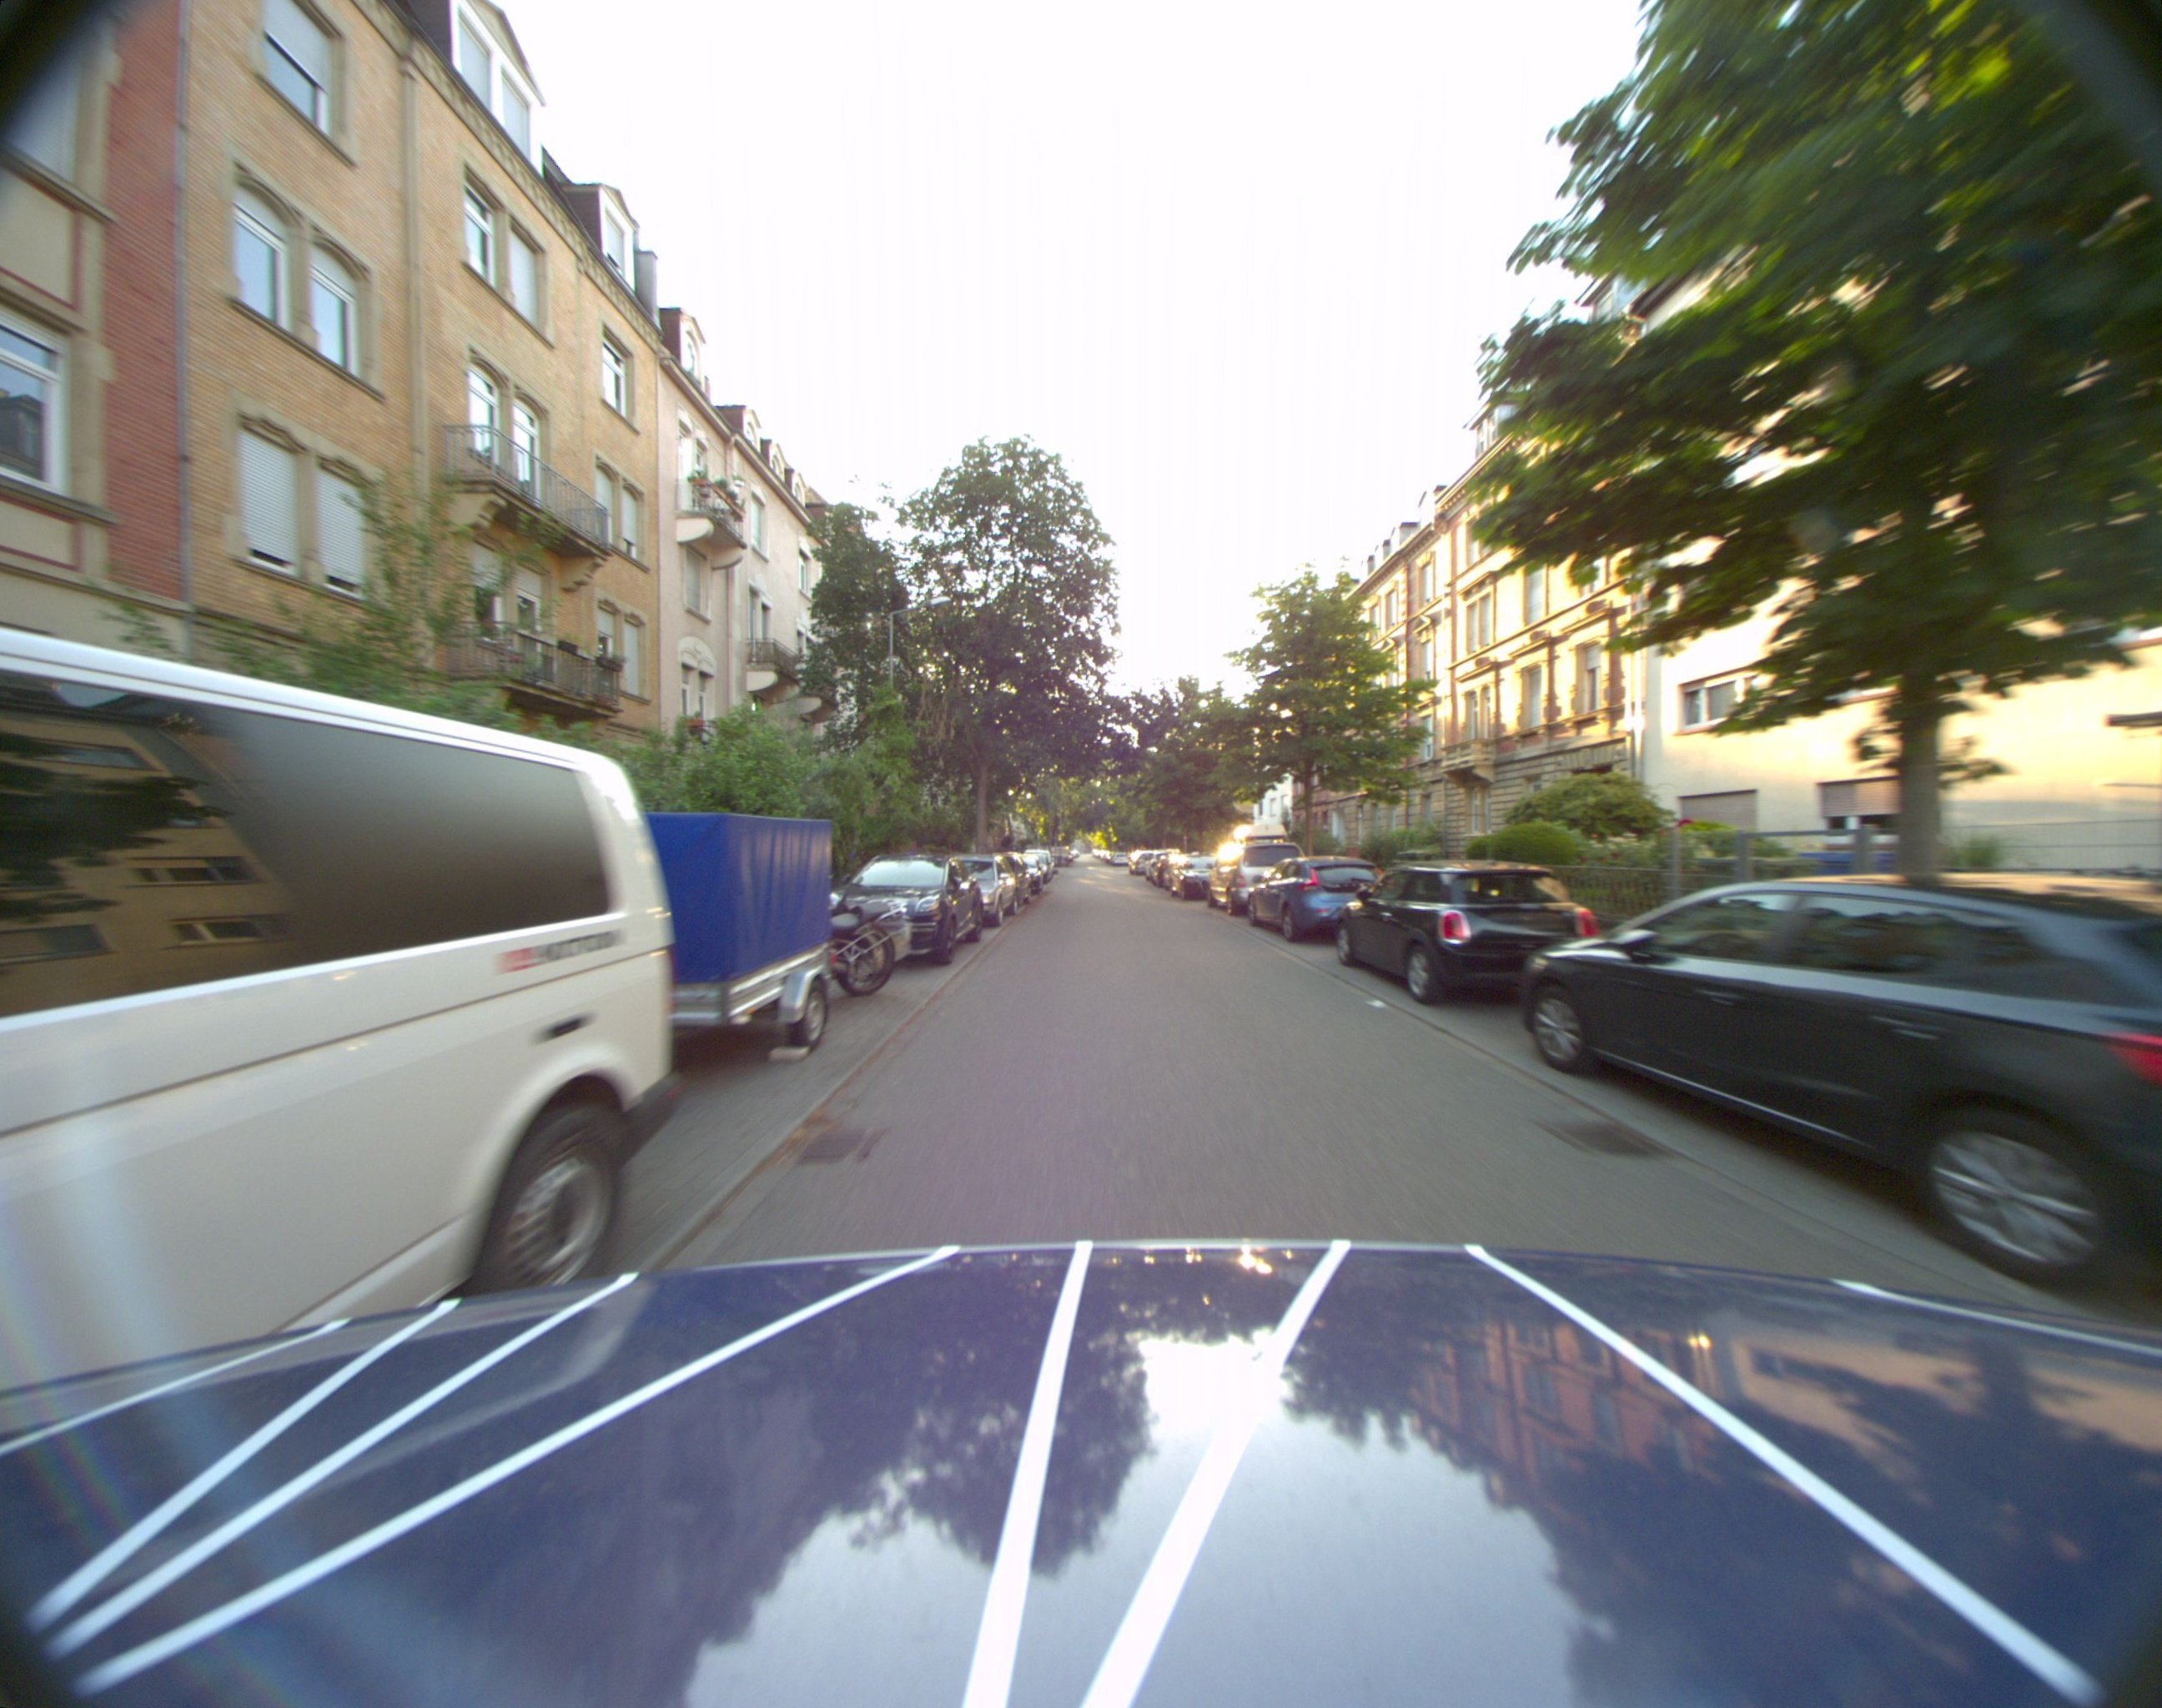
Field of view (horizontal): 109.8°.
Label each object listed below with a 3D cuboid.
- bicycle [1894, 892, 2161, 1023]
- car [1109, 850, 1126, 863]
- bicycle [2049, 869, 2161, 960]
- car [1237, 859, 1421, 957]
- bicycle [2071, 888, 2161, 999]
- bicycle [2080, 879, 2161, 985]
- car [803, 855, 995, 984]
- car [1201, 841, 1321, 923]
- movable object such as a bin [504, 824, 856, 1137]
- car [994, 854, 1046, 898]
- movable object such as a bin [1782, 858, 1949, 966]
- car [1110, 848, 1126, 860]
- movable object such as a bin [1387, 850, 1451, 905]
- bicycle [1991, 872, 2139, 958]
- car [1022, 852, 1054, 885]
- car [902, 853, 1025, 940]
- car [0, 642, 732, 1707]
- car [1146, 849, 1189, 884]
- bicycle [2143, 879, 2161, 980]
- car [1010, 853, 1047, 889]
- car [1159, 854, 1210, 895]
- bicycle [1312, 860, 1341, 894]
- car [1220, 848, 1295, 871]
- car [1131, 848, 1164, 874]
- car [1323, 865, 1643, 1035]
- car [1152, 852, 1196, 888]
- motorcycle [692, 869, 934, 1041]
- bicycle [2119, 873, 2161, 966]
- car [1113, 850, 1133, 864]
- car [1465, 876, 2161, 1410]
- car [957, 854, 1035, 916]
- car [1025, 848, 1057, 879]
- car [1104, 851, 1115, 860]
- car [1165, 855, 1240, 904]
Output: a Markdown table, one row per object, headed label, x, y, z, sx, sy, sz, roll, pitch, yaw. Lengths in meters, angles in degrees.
| label | x | y | z | sx | sy | sz | roll | pitch | yaw |
| --- | --- | --- | --- | --- | --- | --- | --- | --- | --- |
| bicycle | 9.694 | 0.970 | 7.720 | 0.689 | 1.020 | 1.931 | -2 | 1 | -5 |
| car | 4.353 | 0.312 | 90.478 | 1.840 | 1.484 | 3.641 | -1 | 1 | 0 |
| bicycle | 13.669 | 0.773 | 9.927 | 1.548 | 1.086 | 0.500 | -2 | 1 | -6 |
| car | 4.346 | 0.857 | 14.142 | 1.866 | 1.404 | 4.589 | -1 | 1 | -1 |
| bicycle | 11.269 | 0.919 | 7.667 | 0.502 | 1.086 | 1.545 | -3 | 1 | -37 |
| bicycle | 11.713 | 0.827 | 7.935 | 0.502 | 1.086 | 1.545 | -3 | 1 | -37 |
| car | -2.554 | 0.844 | 11.783 | 1.724 | 1.542 | 4.325 | -1 | 1 | 3 |
| car | 4.360 | 0.597 | 19.144 | 1.866 | 1.769 | 4.622 | -1 | 1 | -1 |
| movable object such as a bin | -2.763 | 0.751 | 5.736 | 1.415 | 1.867 | 2.324 | 1 | 1 | 0 |
| car | -2.285 | 0.802 | 29.397 | 1.737 | 1.498 | 4.163 | -1 | 1 | -1 |
| movable object such as a bin | 10.775 | 0.750 | 10.506 | 0.868 | 1.345 | 1.398 | -2 | 1 | 2 |
| car | 4.732 | 0.017 | 96.753 | 1.840 | 1.484 | 3.641 | -1 | 1 | 0 |
| movable object such as a bin | 9.143 | 0.615 | 20.638 | 0.948 | 1.379 | 1.551 | -2 | 1 | -3 |
| bicycle | 13.584 | 0.827 | 10.503 | 1.548 | 1.086 | 0.500 | -2 | 1 | -6 |
| car | -2.170 | 0.710 | 39.012 | 1.502 | 1.538 | 3.338 | -1 | 1 | -1 |
| car | -2.441 | 0.816 | 17.036 | 1.760 | 1.573 | 4.842 | -2 | 1 | 3 |
| car | -2.541 | 0.689 | 0.765 | 1.866 | 2.027 | 5.543 | 1 | 1 | -1 |
| car | 4.452 | 0.589 | 39.605 | 1.866 | 1.653 | 4.021 | -1 | 1 | 1 |
| bicycle | 12.378 | 0.820 | 7.800 | 0.386 | 1.086 | 1.707 | -3 | 1 | -36 |
| car | -2.354 | 0.735 | 34.610 | 1.479 | 1.498 | 3.928 | -1 | 1 | -1 |
| car | 4.042 | 0.756 | 30.109 | 1.441 | 1.485 | 3.297 | -1 | 1 | -1 |
| bicycle | 8.480 | 0.781 | 26.288 | 0.457 | 1.103 | 1.633 | -2 | 1 | 1 |
| car | 11.263 | 0.363 | 48.722 | 4.412 | 1.333 | 1.625 | -1 | 1 | 1 |
| car | 4.416 | 0.465 | 51.161 | 1.677 | 1.628 | 3.939 | -1 | 1 | -2 |
| car | 4.313 | 0.909 | 8.986 | 1.746 | 1.412 | 4.143 | -1 | 1 | 3 |
| car | 4.180 | 0.699 | 34.566 | 1.682 | 1.490 | 3.625 | -1 | 1 | 2 |
| motorcycle | -2.706 | 0.911 | 7.716 | 2.099 | 1.474 | 1.130 | 0 | 1 | -33 |
| bicycle | 13.786 | 0.775 | 9.303 | 1.635 | 1.086 | 0.500 | -2 | 1 | -6 |
| car | 4.655 | 0.322 | 84.717 | 1.953 | 1.484 | 3.737 | -1 | 1 | 0 |
| car | 4.120 | 0.955 | 4.162 | 1.679 | 1.453 | 4.462 | -1 | 1 | -1 |
| car | -2.315 | 0.808 | 21.534 | 1.590 | 1.516 | 3.602 | -2 | 1 | 3 |
| car | -2.318 | 0.512 | 44.627 | 1.737 | 1.692 | 4.167 | -1 | 1 | -1 |
| car | 5.053 | 0.179 | 134.513 | 1.840 | 1.484 | 3.641 | -1 | 1 | 0 |
| car | 3.975 | 0.779 | 25.393 | 1.733 | 1.433 | 4.023 | -1 | 1 | -1 |
